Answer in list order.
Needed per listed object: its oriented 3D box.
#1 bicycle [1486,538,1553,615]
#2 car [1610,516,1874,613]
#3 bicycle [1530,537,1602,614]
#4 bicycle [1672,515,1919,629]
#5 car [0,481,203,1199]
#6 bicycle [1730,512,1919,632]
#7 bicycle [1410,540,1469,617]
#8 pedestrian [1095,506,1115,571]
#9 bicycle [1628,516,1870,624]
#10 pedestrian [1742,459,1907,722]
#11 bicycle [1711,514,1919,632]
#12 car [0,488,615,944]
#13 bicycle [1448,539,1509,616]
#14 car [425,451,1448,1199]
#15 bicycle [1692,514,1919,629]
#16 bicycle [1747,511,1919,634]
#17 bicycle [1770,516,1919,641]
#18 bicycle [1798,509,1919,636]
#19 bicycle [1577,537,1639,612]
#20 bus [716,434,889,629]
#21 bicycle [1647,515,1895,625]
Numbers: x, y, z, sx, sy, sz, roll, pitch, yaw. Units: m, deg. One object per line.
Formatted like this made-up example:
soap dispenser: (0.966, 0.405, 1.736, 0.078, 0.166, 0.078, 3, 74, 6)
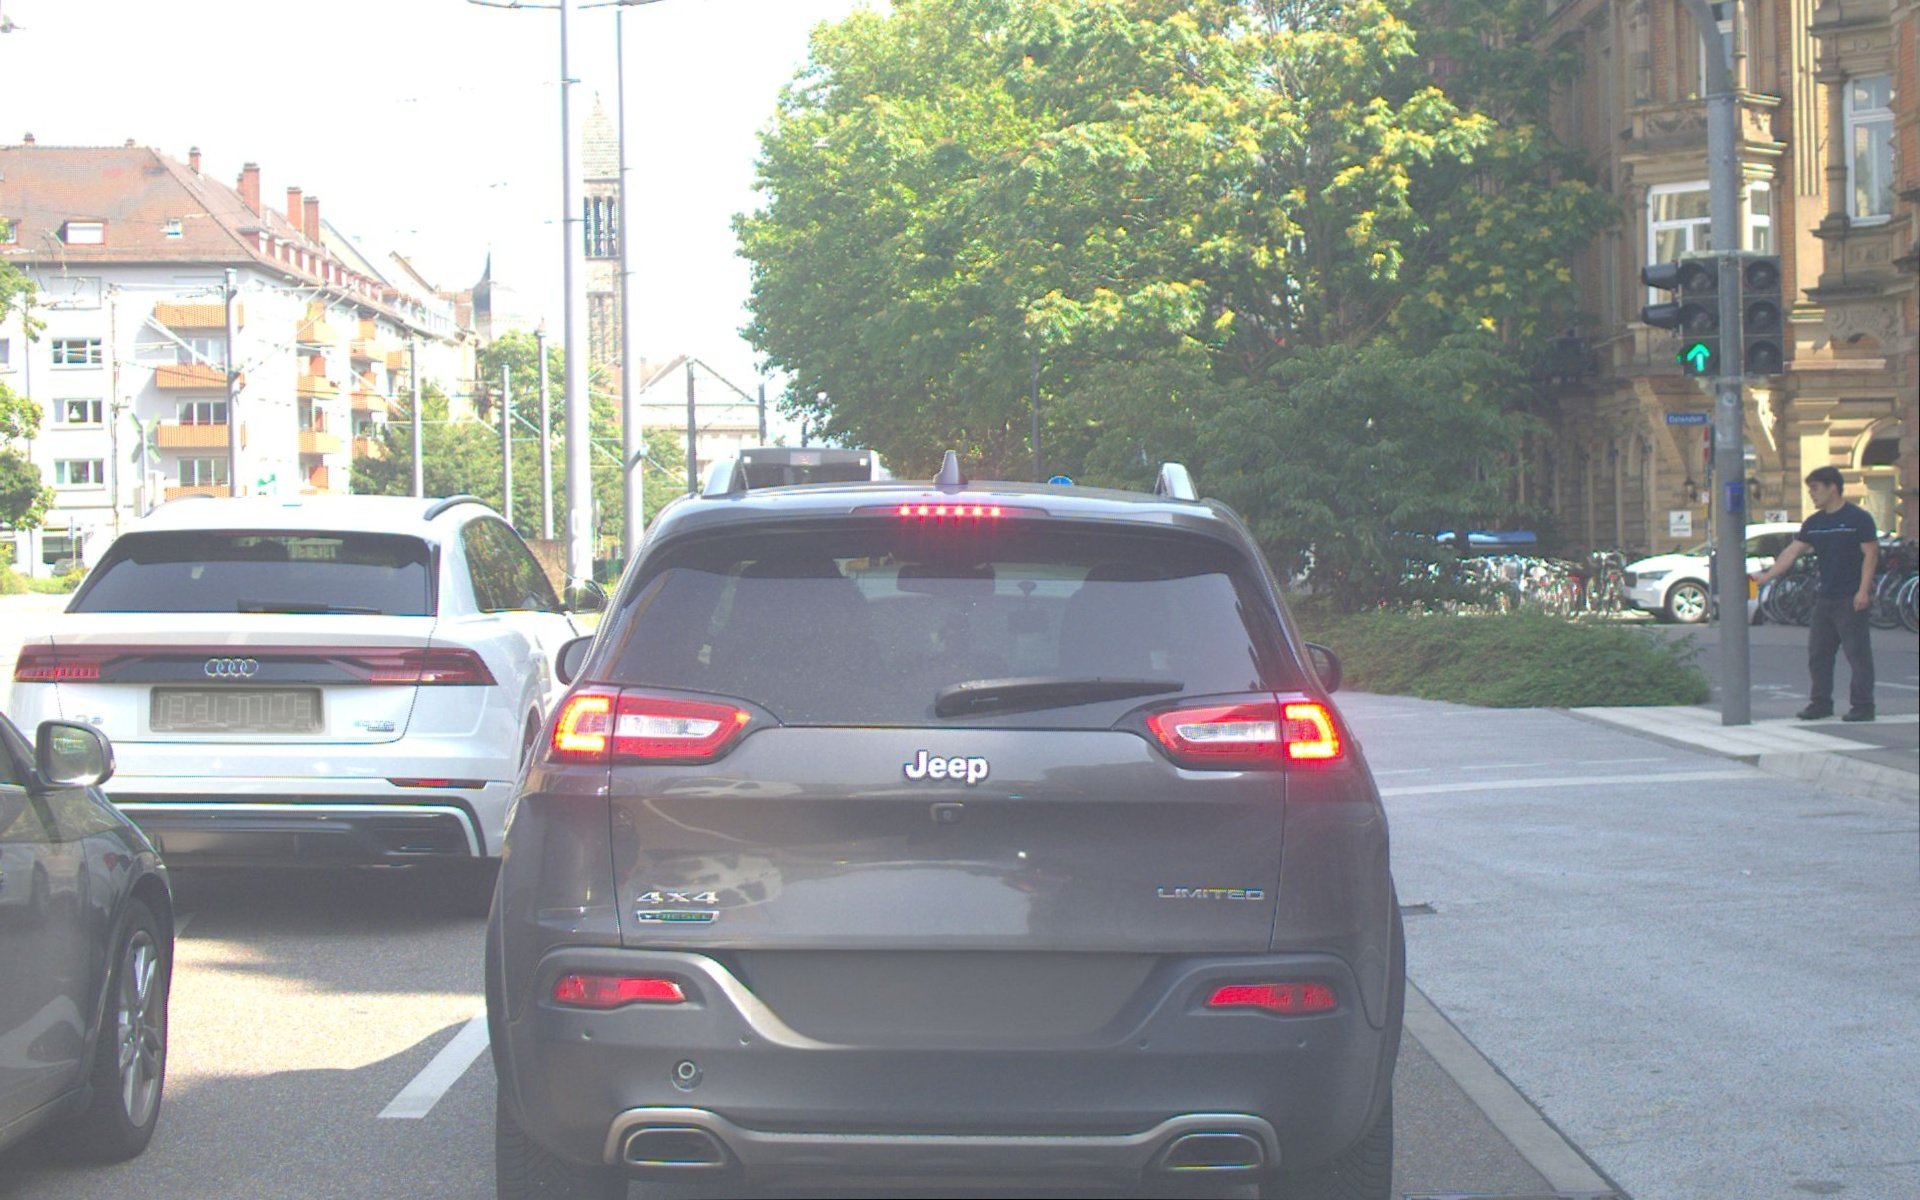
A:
bicycle: (9.501, -0.412, 58.450, 0.732, 1.249, 3.014, -1, 1, 2)
car: (13.056, -0.609, 57.478, 3.931, 1.515, 1.683, -1, 1, -7)
bicycle: (10.290, -0.428, 58.464, 0.763, 1.249, 3.014, -1, 1, 2)
bicycle: (10.684, -0.362, 43.815, 3.003, 1.368, 0.947, -1, 1, -1)
car: (-2.810, 0.564, 6.710, 1.747, 1.609, 4.309, 0, 1, 0)
bicycle: (10.743, -0.350, 40.766, 2.993, 1.366, 0.871, -1, 1, -1)
bicycle: (8.140, -0.386, 58.476, 0.649, 1.249, 3.014, -1, 1, 2)
pedestrian: (4.538, -1.925, 107.647, 0.528, 2.007, 0.532, -1, 1, -2)
bicycle: (10.580, -0.412, 46.174, 3.003, 1.368, 0.947, -1, 1, -1)
pedestrian: (5.898, -0.068, 23.435, 0.899, 1.735, 0.767, -2, 1, 25)
bicycle: (10.733, -0.343, 41.710, 3.003, 1.368, 0.947, -1, 1, -1)
car: (-2.612, 0.370, 14.577, 1.902, 1.646, 4.309, 0, 1, 0)
bicycle: (8.801, -0.401, 58.451, 0.649, 1.249, 3.014, -1, 1, 2)
car: (-0.025, 0.516, 8.350, 1.832, 1.646, 4.308, 0, 1, 1)
bicycle: (10.734, -0.361, 42.805, 3.003, 1.368, 0.947, -1, 1, -1)
bicycle: (10.730, -0.336, 39.818, 2.993, 1.366, 0.871, -1, 1, -1)
bicycle: (10.780, -0.267, 38.906, 2.993, 1.366, 0.871, -1, 1, -1)
bicycle: (10.882, -0.328, 37.999, 2.993, 1.366, 0.871, -1, 1, -1)
bicycle: (11.090, -0.452, 58.897, 0.658, 1.245, 2.412, -1, 1, 2)
bus: (-2.851, -1.195, 62.030, 2.743, 3.096, 11.957, 2, 1, -3)
bicycle: (10.631, -0.400, 45.132, 3.003, 1.368, 0.947, -1, 1, -1)
